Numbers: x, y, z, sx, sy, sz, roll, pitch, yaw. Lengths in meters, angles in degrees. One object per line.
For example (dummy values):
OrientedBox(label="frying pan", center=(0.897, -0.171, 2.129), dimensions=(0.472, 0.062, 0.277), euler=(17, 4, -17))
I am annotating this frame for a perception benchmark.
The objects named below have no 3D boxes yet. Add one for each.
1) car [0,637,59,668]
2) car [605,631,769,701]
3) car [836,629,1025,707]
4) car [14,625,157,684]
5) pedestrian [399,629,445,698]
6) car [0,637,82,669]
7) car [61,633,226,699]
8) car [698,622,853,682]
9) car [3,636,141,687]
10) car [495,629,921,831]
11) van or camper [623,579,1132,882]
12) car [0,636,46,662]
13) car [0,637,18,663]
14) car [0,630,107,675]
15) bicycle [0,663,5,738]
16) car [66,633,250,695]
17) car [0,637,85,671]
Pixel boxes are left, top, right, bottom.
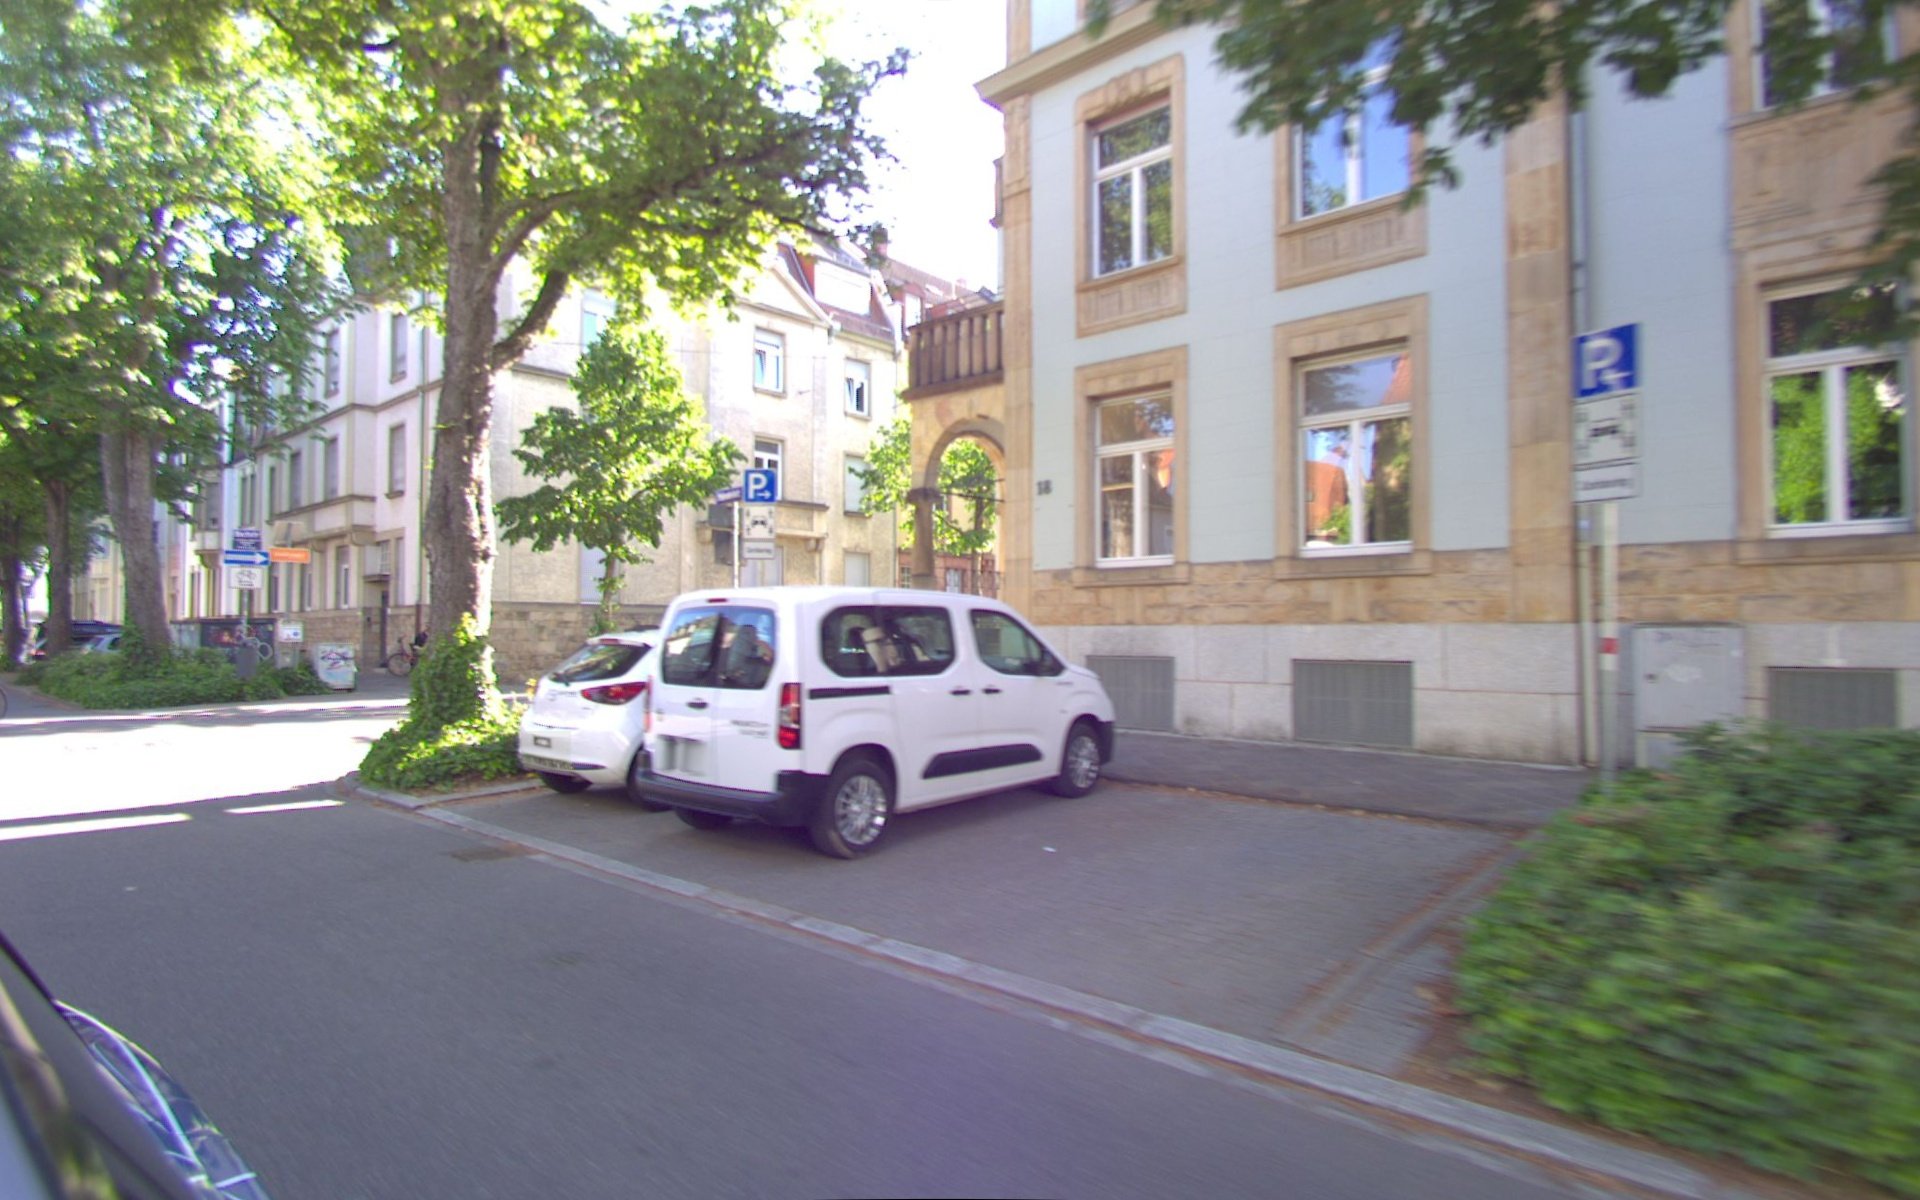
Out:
OrientedBox(label="car", center=(-45.813, 2.507, 48.750), dimensions=(1.541, 1.440, 3.451), euler=(-2, -2, 40))
OrientedBox(label="car", center=(-6.824, 1.555, 25.048), dimensions=(4.417, 1.566, 1.845), euler=(-2, -2, 42))
OrientedBox(label="car", center=(-0.547, 1.353, 21.385), dimensions=(1.894, 1.475, 3.852), euler=(-2, -2, 41))
OrientedBox(label="car", center=(-29.965, 1.839, 34.728), dimensions=(1.820, 1.907, 3.451), euler=(-2, -3, 40))
OrientedBox(label="pedestrian", center=(-12.927, 1.500, 24.307), dimensions=(0.978, 1.620, 0.658), euler=(-2, -2, 41))
OrientedBox(label="car", center=(-43.841, 2.462, 47.741), dimensions=(1.541, 1.440, 3.451), euler=(-2, -2, 40))
OrientedBox(label="car", center=(-25.822, 2.038, 32.190), dimensions=(3.934, 1.775, 2.005), euler=(-1, 0, -35))
OrientedBox(label="car", center=(-4.963, 1.334, 26.919), dimensions=(4.280, 1.452, 1.845), euler=(-1, -2, 42))
OrientedBox(label="car", center=(-31.486, 2.149, 35.948), dimensions=(1.681, 1.704, 3.451), euler=(-2, -3, 40))
OrientedBox(label="car", center=(-2.238, 1.054, 9.723), dimensions=(1.720, 1.528, 3.687), euler=(-2, -2, 40))
OrientedBox(label="van or camper", center=(-0.442, 0.836, 8.075), dimensions=(1.808, 1.787, 3.903), euler=(-3, -3, 40))
OrientedBox(label="car", center=(-54.641, 2.803, 57.796), dimensions=(1.541, 1.440, 3.451), euler=(-2, -2, 40))
OrientedBox(label="car", center=(-53.386, 2.710, 54.701), dimensions=(1.541, 1.440, 3.451), euler=(-2, -2, 40))
OrientedBox(label="car", center=(-37.046, 2.102, 41.131), dimensions=(1.460, 1.704, 3.452), euler=(-2, -2, 40))
OrientedBox(label="bicycle", center=(-13.804, 1.345, 13.203), dimensions=(0.594, 0.994, 1.895), euler=(-2, -3, 40))
OrientedBox(label="car", center=(-22.429, 1.728, 28.376), dimensions=(3.938, 1.443, 1.806), euler=(-1, 0, -42))
OrientedBox(label="car", center=(-40.925, 2.366, 44.534), dimensions=(1.541, 1.440, 3.451), euler=(-2, -2, 40))
